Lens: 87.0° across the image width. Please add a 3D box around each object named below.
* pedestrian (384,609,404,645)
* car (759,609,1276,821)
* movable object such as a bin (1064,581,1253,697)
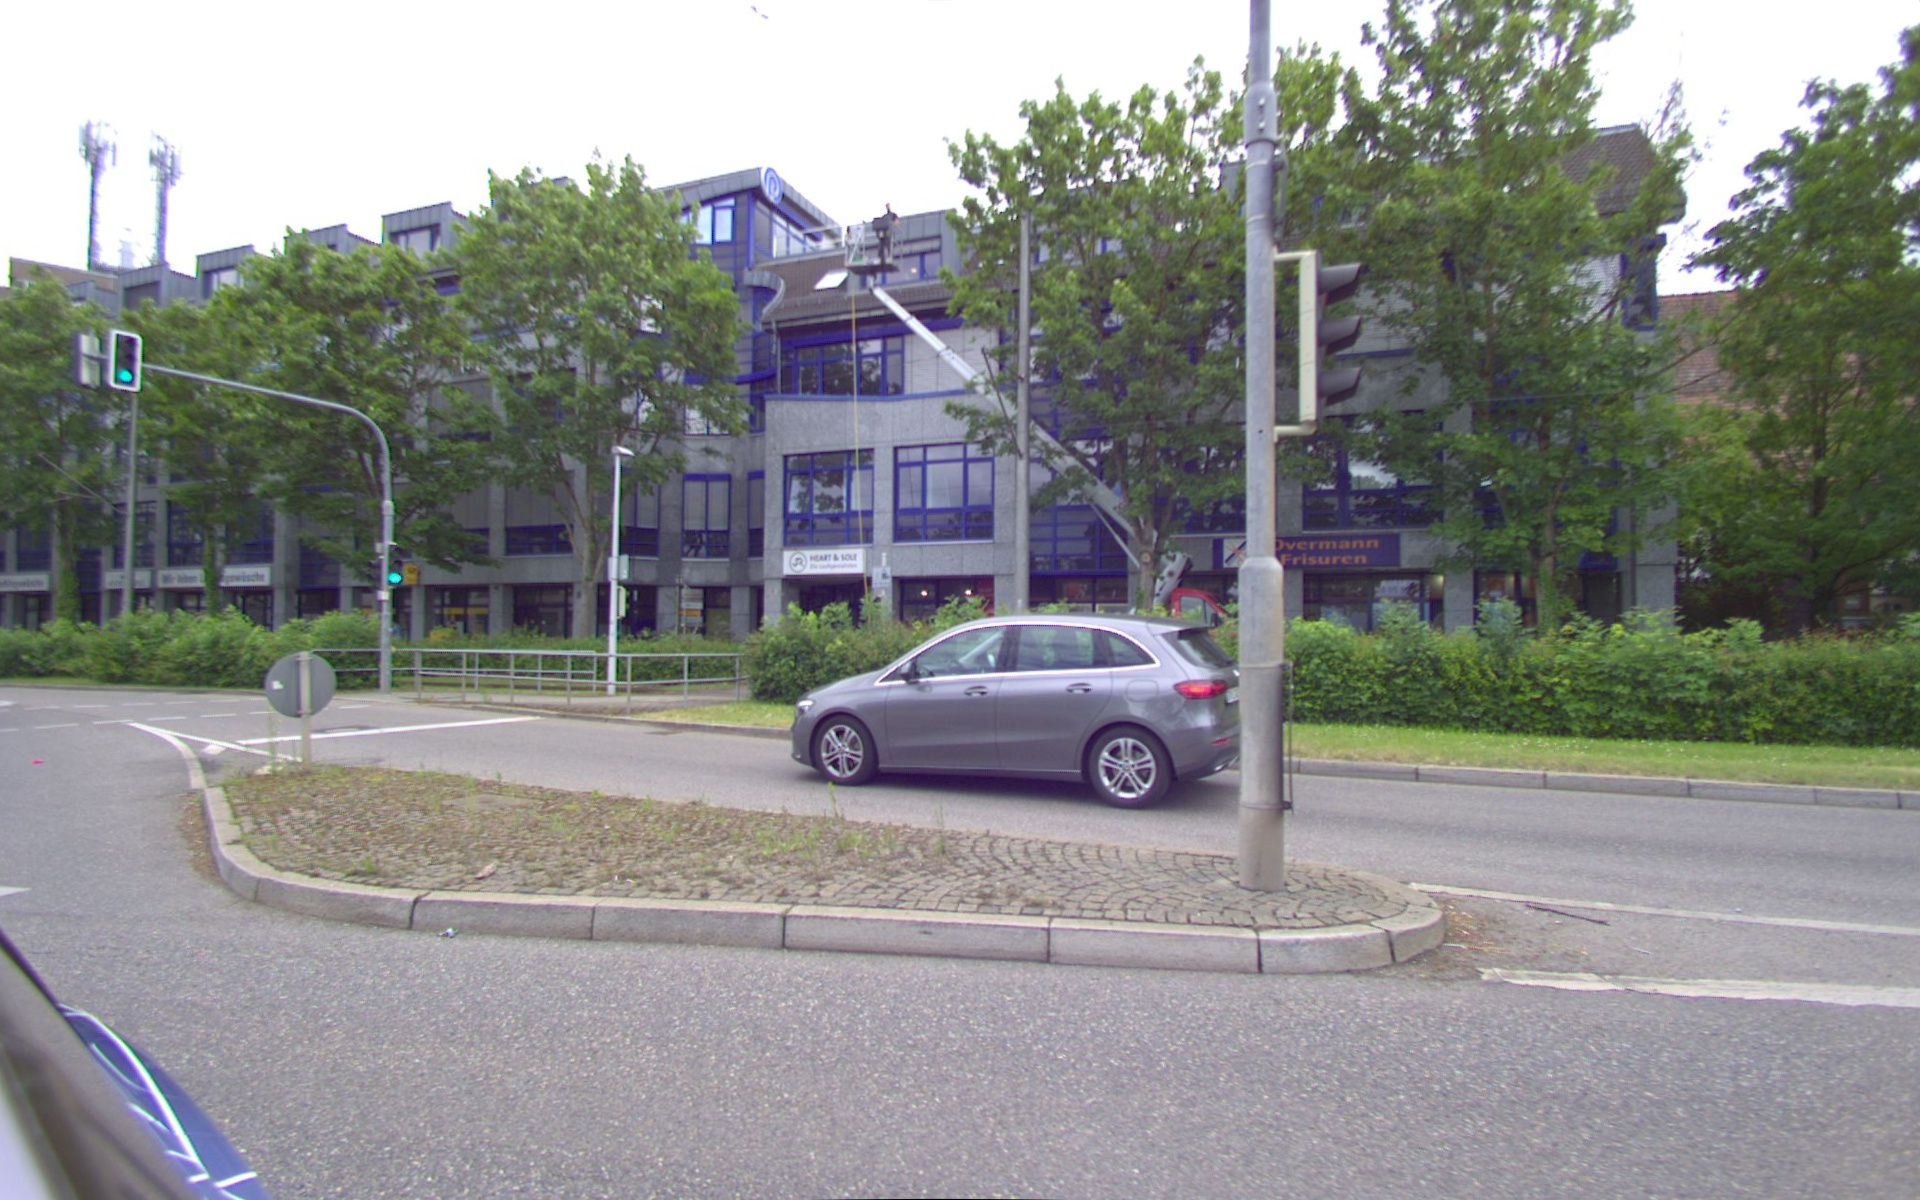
[{"bbox_3d":[-21.655,1.028,38.745,0.554,1.344,0.364,-1,1,18],"label":"pedestrian"},{"bbox_3d":[0.461,0.897,9.235,4.374,1.549,1.772,-1,-1,28],"label":"car"},{"bbox_3d":[4.686,0.894,23.857,4.099,2.551,1.897,-1,-1,22],"label":"movable object such as a bin"}]
